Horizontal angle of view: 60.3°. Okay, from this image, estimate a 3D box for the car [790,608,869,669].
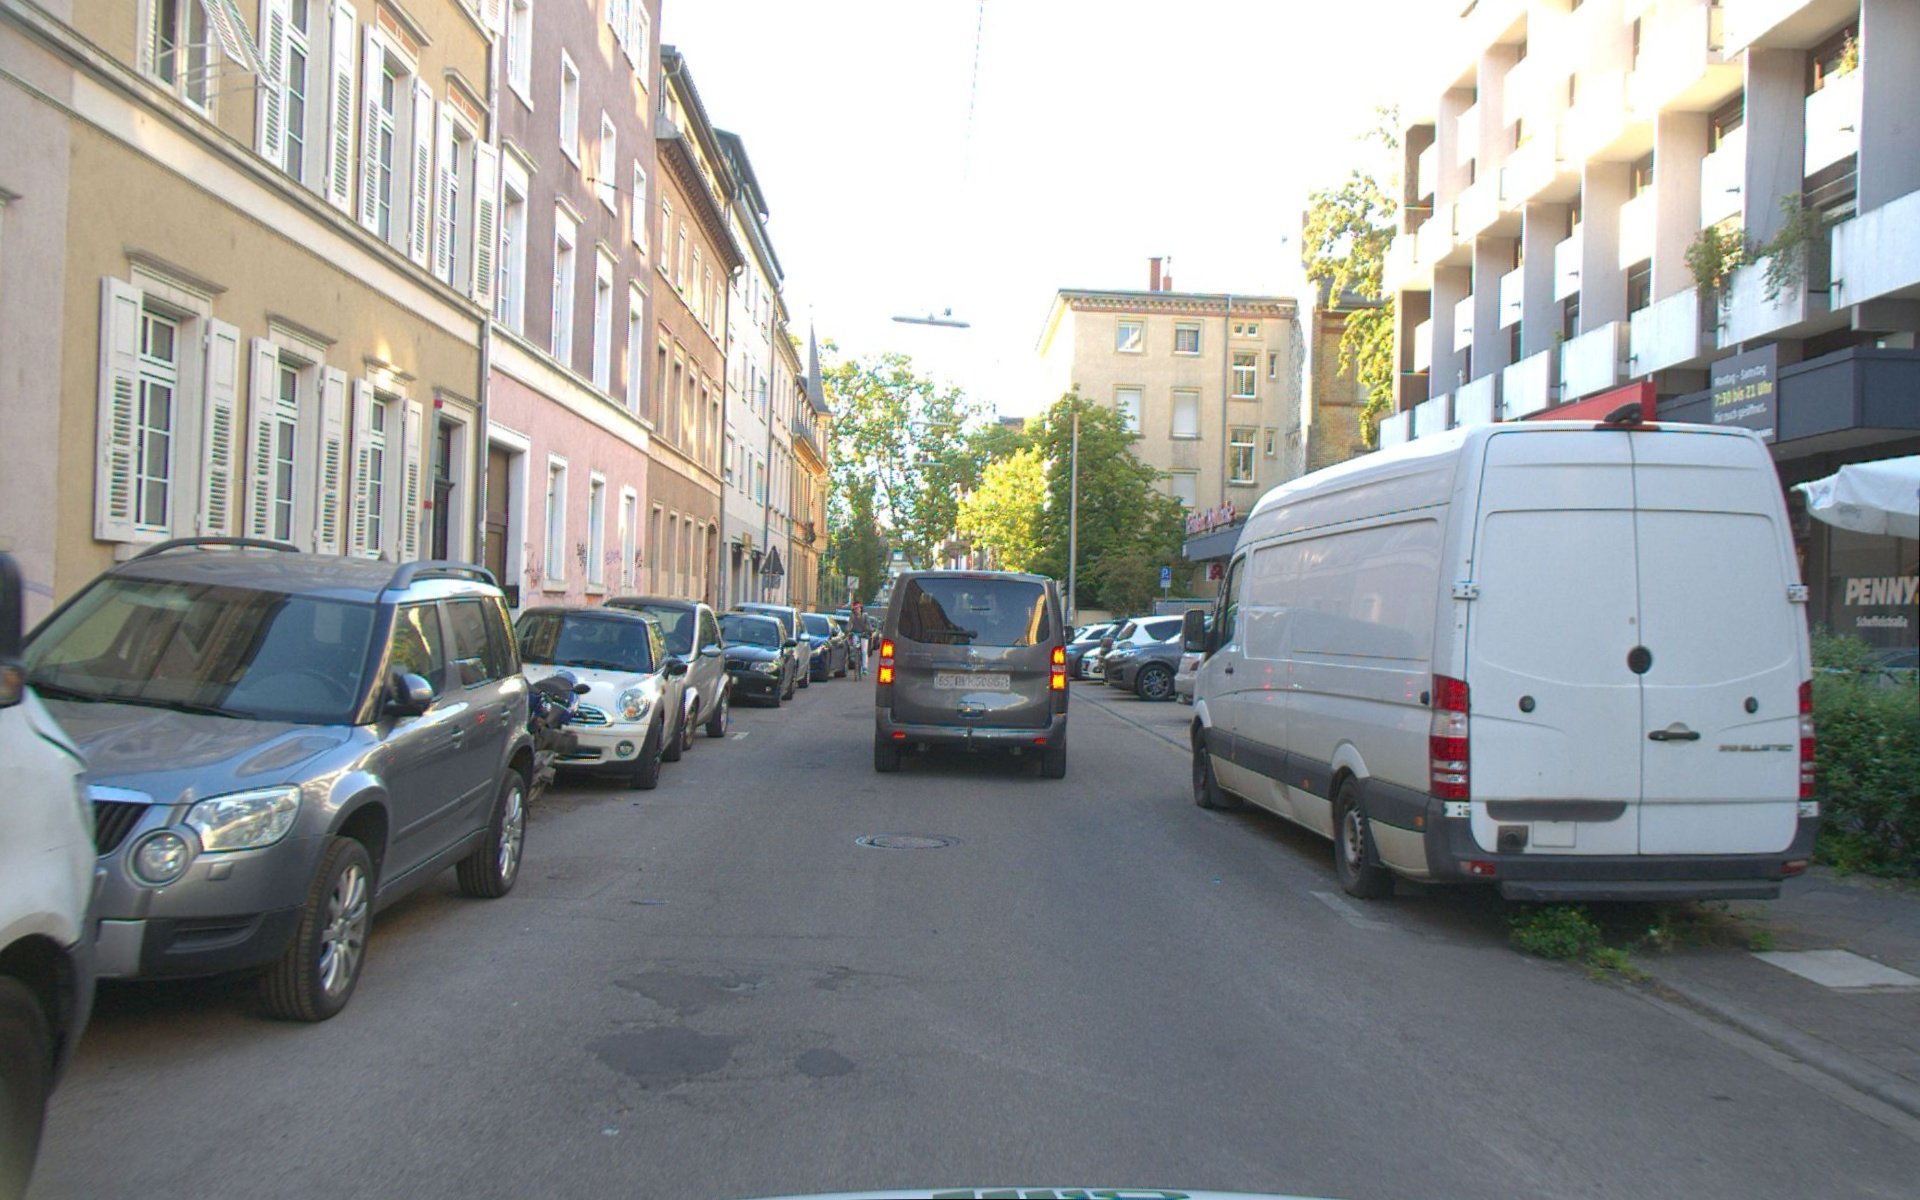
[{"bbox_3d":[-3.738,1.077,47.683,2.102,1.588,4.580,2,0,-4],"label":"car"}]

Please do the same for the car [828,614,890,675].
[{"bbox_3d":[-3.457,1.460,56.237,1.954,1.891,4.580,2,0,-4],"label":"car"}]

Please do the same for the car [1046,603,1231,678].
[{"bbox_3d":[4.683,1.055,43.759,4.484,1.823,1.996,2,-1,-8],"label":"car"}]

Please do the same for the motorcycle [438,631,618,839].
[{"bbox_3d":[-2.970,0.871,11.635,0.696,1.256,2.473,2,0,-3],"label":"motorcycle"}]

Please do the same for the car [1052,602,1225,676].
[{"bbox_3d":[5.020,1.086,46.793,4.484,1.891,1.996,2,-1,-8],"label":"car"}]

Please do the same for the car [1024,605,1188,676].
[{"bbox_3d":[4.305,1.188,49.201,4.484,1.891,1.996,2,-1,-8],"label":"car"}]

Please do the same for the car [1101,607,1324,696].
[{"bbox_3d":[5.364,1.087,35.446,4.369,1.705,1.795,2,-1,-6],"label":"car"}]

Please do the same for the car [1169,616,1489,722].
[{"bbox_3d":[5.650,1.038,25.691,4.532,1.491,1.840,-1,0,-2],"label":"car"}]

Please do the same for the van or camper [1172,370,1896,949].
[{"bbox_3d":[3.148,0.307,11.387,2.057,2.648,7.508,1,0,-3],"label":"van or camper"}]

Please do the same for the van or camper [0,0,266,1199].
[{"bbox_3d":[-2.701,0.128,0.947,1.910,2.696,7.136,1,0,-3],"label":"van or camper"}]

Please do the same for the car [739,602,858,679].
[{"bbox_3d":[-3.640,0.900,38.084,1.952,1.588,4.586,2,0,3],"label":"car"}]

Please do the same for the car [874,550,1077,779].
[{"bbox_3d":[0.129,0.584,16.865,1.819,2.049,3.999,0,0,0],"label":"car"}]

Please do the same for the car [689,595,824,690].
[{"bbox_3d":[-3.864,0.786,32.177,1.952,1.633,4.585,2,0,1],"label":"car"}]

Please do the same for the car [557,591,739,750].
[{"bbox_3d":[-3.357,0.727,18.213,1.357,1.559,2.749,2,0,2],"label":"car"}]

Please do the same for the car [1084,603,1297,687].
[{"bbox_3d":[5.297,1.031,38.288,4.484,1.735,1.996,2,-1,-8],"label":"car"}]

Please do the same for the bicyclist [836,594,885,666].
[{"bbox_3d":[-2.283,0.684,38.026,1.013,1.605,0.833,1,-1,3],"label":"bicyclist"}]

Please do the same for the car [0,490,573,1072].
[{"bbox_3d":[-3.074,0.558,7.280,1.826,1.781,4.291,2,0,-2],"label":"car"}]

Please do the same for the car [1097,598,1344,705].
[{"bbox_3d":[5.100,0.999,32.812,4.478,1.891,1.999,2,-1,-3],"label":"car"}]

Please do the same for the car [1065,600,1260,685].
[{"bbox_3d":[4.937,1.031,40.674,4.390,1.891,1.881,2,-1,-8],"label":"car"}]

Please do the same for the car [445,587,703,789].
[{"bbox_3d":[-3.309,0.700,14.844,1.678,1.523,3.851,2,0,-5],"label":"car"}]

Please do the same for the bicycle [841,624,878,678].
[{"bbox_3d":[-2.272,1.147,37.661,0.608,1.158,2.258,1,0,2],"label":"bicycle"}]

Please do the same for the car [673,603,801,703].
[{"bbox_3d":[-3.583,0.809,27.272,1.753,1.422,4.463,3,0,-4],"label":"car"}]
